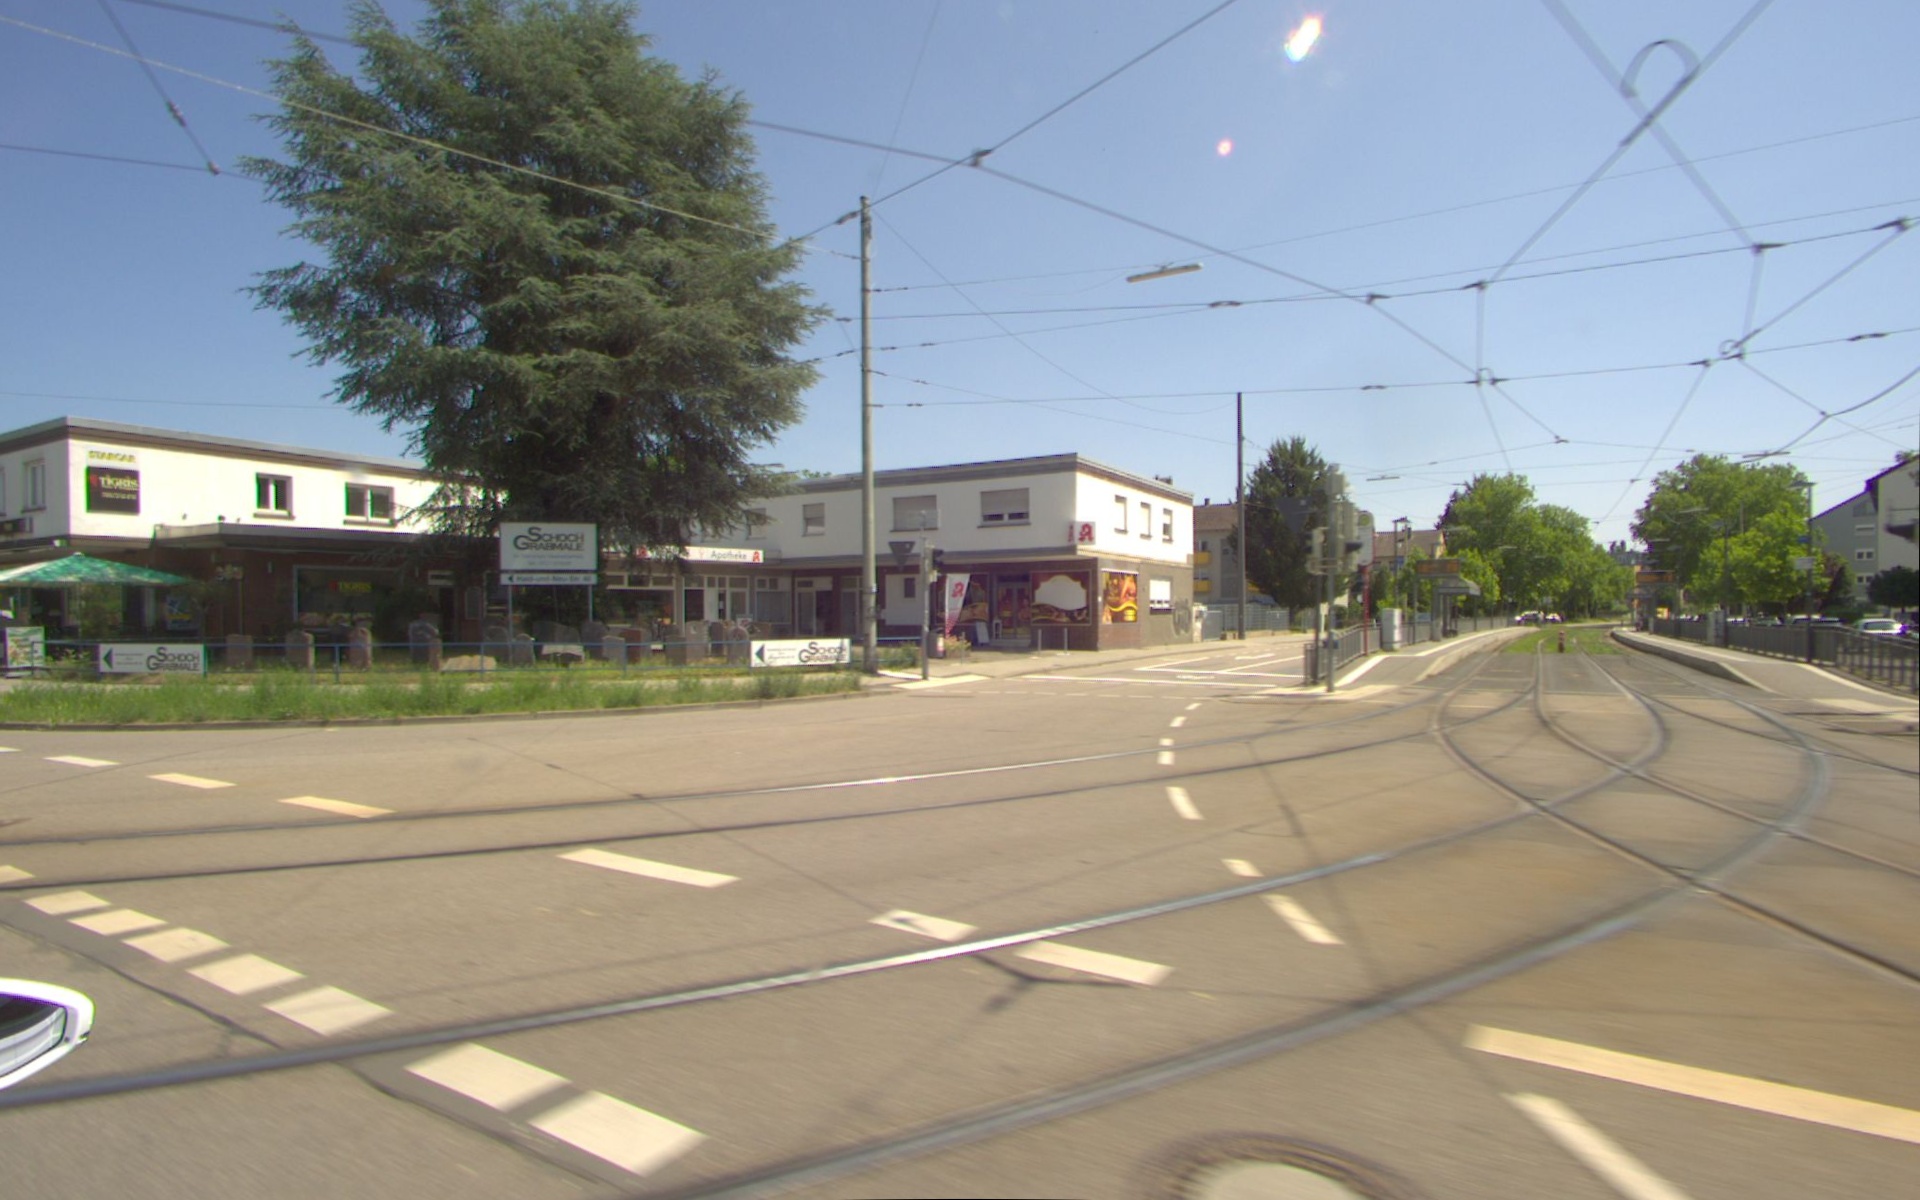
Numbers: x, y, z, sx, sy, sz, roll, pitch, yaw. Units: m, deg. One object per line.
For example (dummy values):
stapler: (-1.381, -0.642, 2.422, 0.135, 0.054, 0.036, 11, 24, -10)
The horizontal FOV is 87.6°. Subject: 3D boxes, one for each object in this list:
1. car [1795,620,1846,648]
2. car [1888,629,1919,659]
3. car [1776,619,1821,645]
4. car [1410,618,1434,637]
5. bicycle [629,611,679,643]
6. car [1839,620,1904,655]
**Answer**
car: (43.794, 1.699, 51.009, 1.430, 1.371, 3.346, 0, -1, 32)
car: (36.678, 1.659, 38.067, 1.430, 1.095, 3.346, 0, -1, 32)
car: (46.433, 1.761, 55.524, 1.430, 1.371, 3.346, 0, -1, 32)
car: (42.851, 2.531, 92.761, 1.968, 1.683, 3.987, -1, -1, 26)
bicycle: (-12.088, 1.077, 39.590, 0.592, 1.207, 1.862, -1, -3, 42)
car: (38.886, 1.570, 42.779, 1.430, 1.371, 3.346, 0, -1, 32)
